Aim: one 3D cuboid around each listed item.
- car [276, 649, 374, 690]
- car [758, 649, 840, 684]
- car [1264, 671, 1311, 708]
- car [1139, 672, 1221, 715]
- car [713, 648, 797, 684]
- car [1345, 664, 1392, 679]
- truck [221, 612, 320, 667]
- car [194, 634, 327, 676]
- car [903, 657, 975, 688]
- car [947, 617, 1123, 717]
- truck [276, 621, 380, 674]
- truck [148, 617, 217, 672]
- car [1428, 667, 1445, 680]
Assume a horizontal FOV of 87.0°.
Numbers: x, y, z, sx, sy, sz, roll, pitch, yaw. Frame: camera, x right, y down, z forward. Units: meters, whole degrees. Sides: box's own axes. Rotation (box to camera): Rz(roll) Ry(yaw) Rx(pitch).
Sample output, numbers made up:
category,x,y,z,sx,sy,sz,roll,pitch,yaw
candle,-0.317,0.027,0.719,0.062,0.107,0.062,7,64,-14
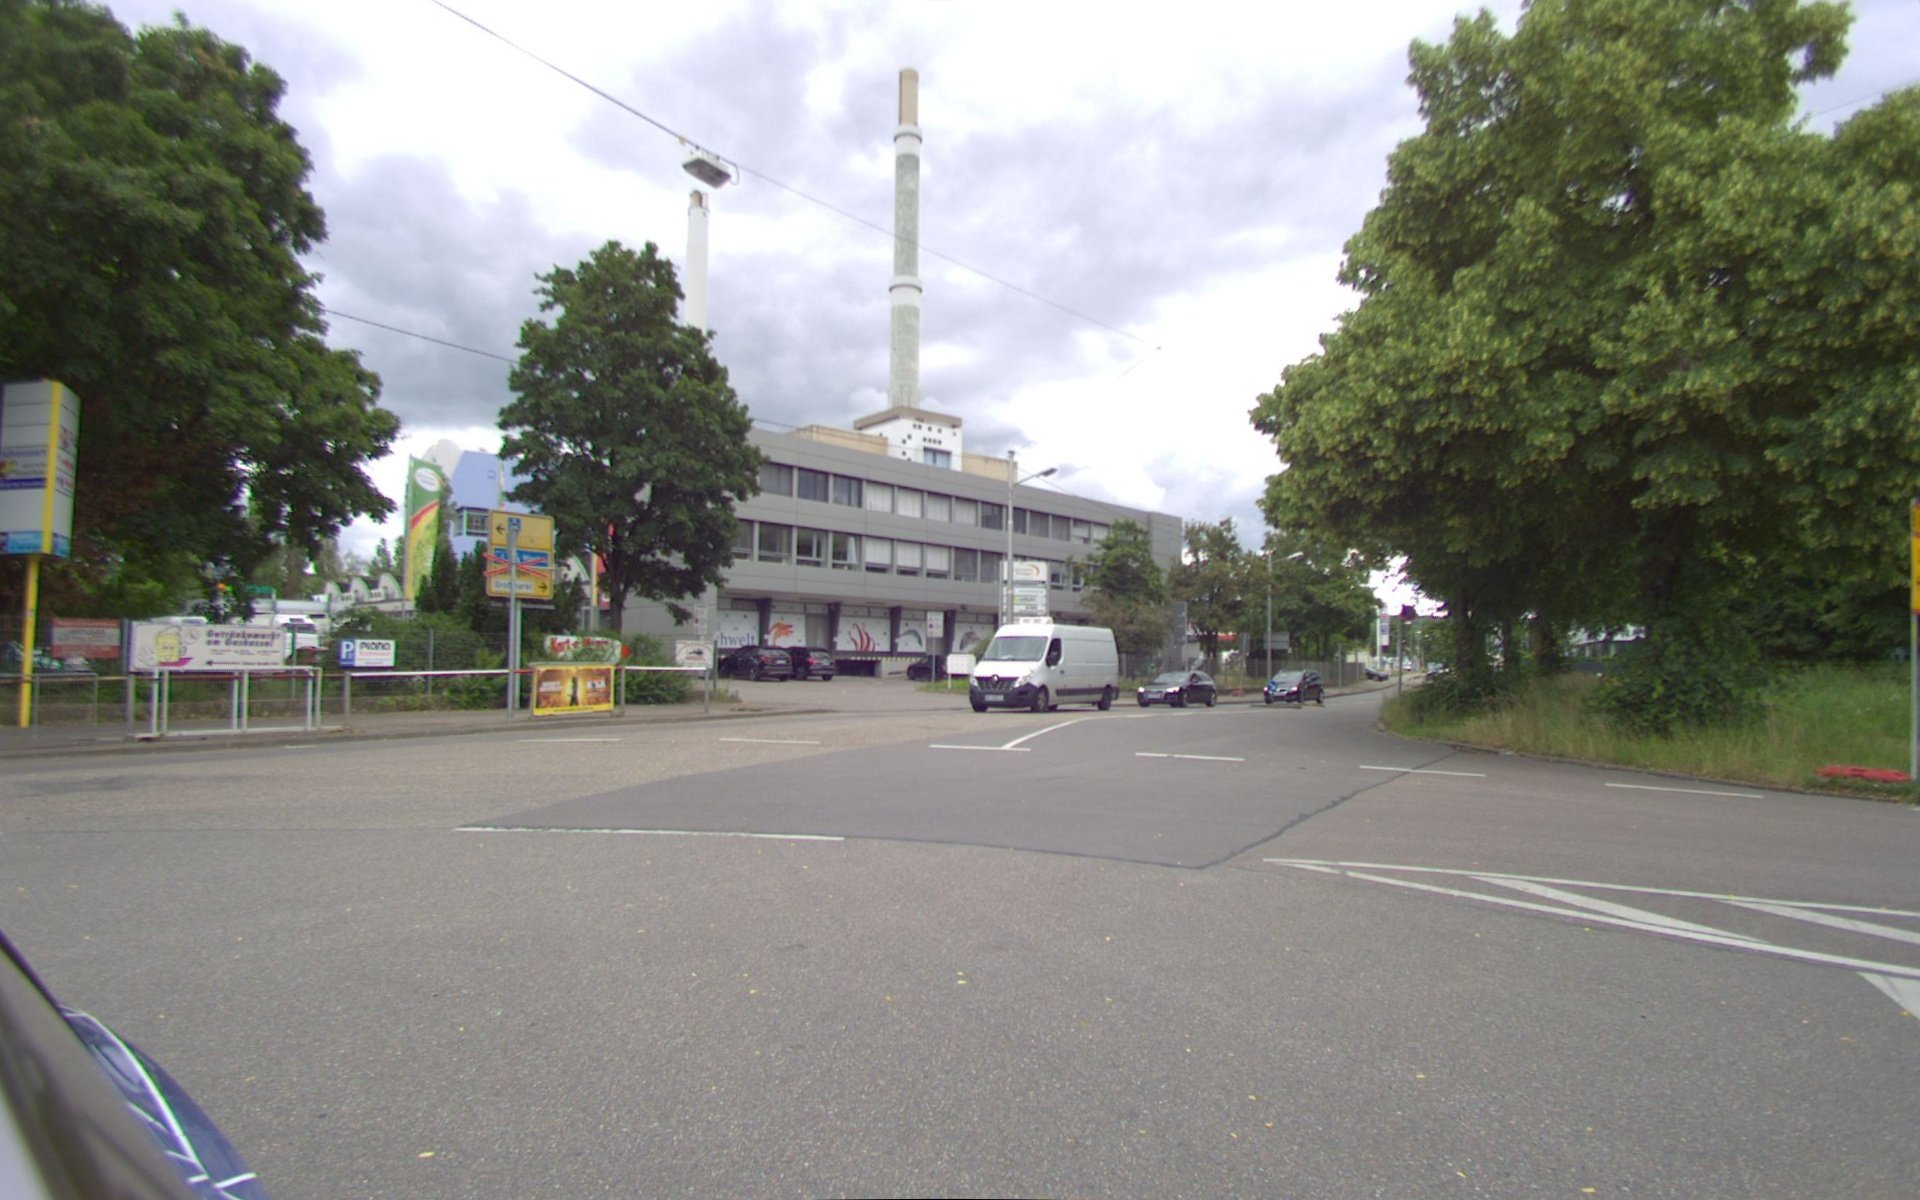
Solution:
category,x,y,z,sx,sy,sz,roll,pitch,yaw
car,-20.760,2.268,33.029,3.700,1.258,1.686,-3,-5,41
car,-8.139,3.321,51.027,1.812,1.630,4.426,4,-4,-45
car,15.643,4.235,48.275,1.784,1.653,4.407,-1,-4,22
car,8.487,3.522,38.731,1.858,1.524,4.396,-2,-4,29
car,-9.959,3.167,48.936,1.811,1.630,4.469,4,-4,-44
car,53.142,9.314,131.706,5.435,1.884,2.009,-2,-4,26
truck,-54.172,3.211,79.259,15.727,3.964,2.812,-3,-5,43
car,-47.682,3.817,69.149,2.244,2.754,7.050,-3,-6,44
car,-1.234,3.936,55.495,2.015,1.456,4.844,2,-2,-27
car,2.249,1.868,28.168,2.381,2.478,6.034,-3,-5,31
truck,-51.638,3.956,82.337,15.724,3.964,2.812,-3,-5,42
truck,-63.380,3.676,82.429,9.191,4.198,2.956,-3,-5,44
car,59.203,9.124,125.808,1.786,1.653,4.403,-2,-4,25
